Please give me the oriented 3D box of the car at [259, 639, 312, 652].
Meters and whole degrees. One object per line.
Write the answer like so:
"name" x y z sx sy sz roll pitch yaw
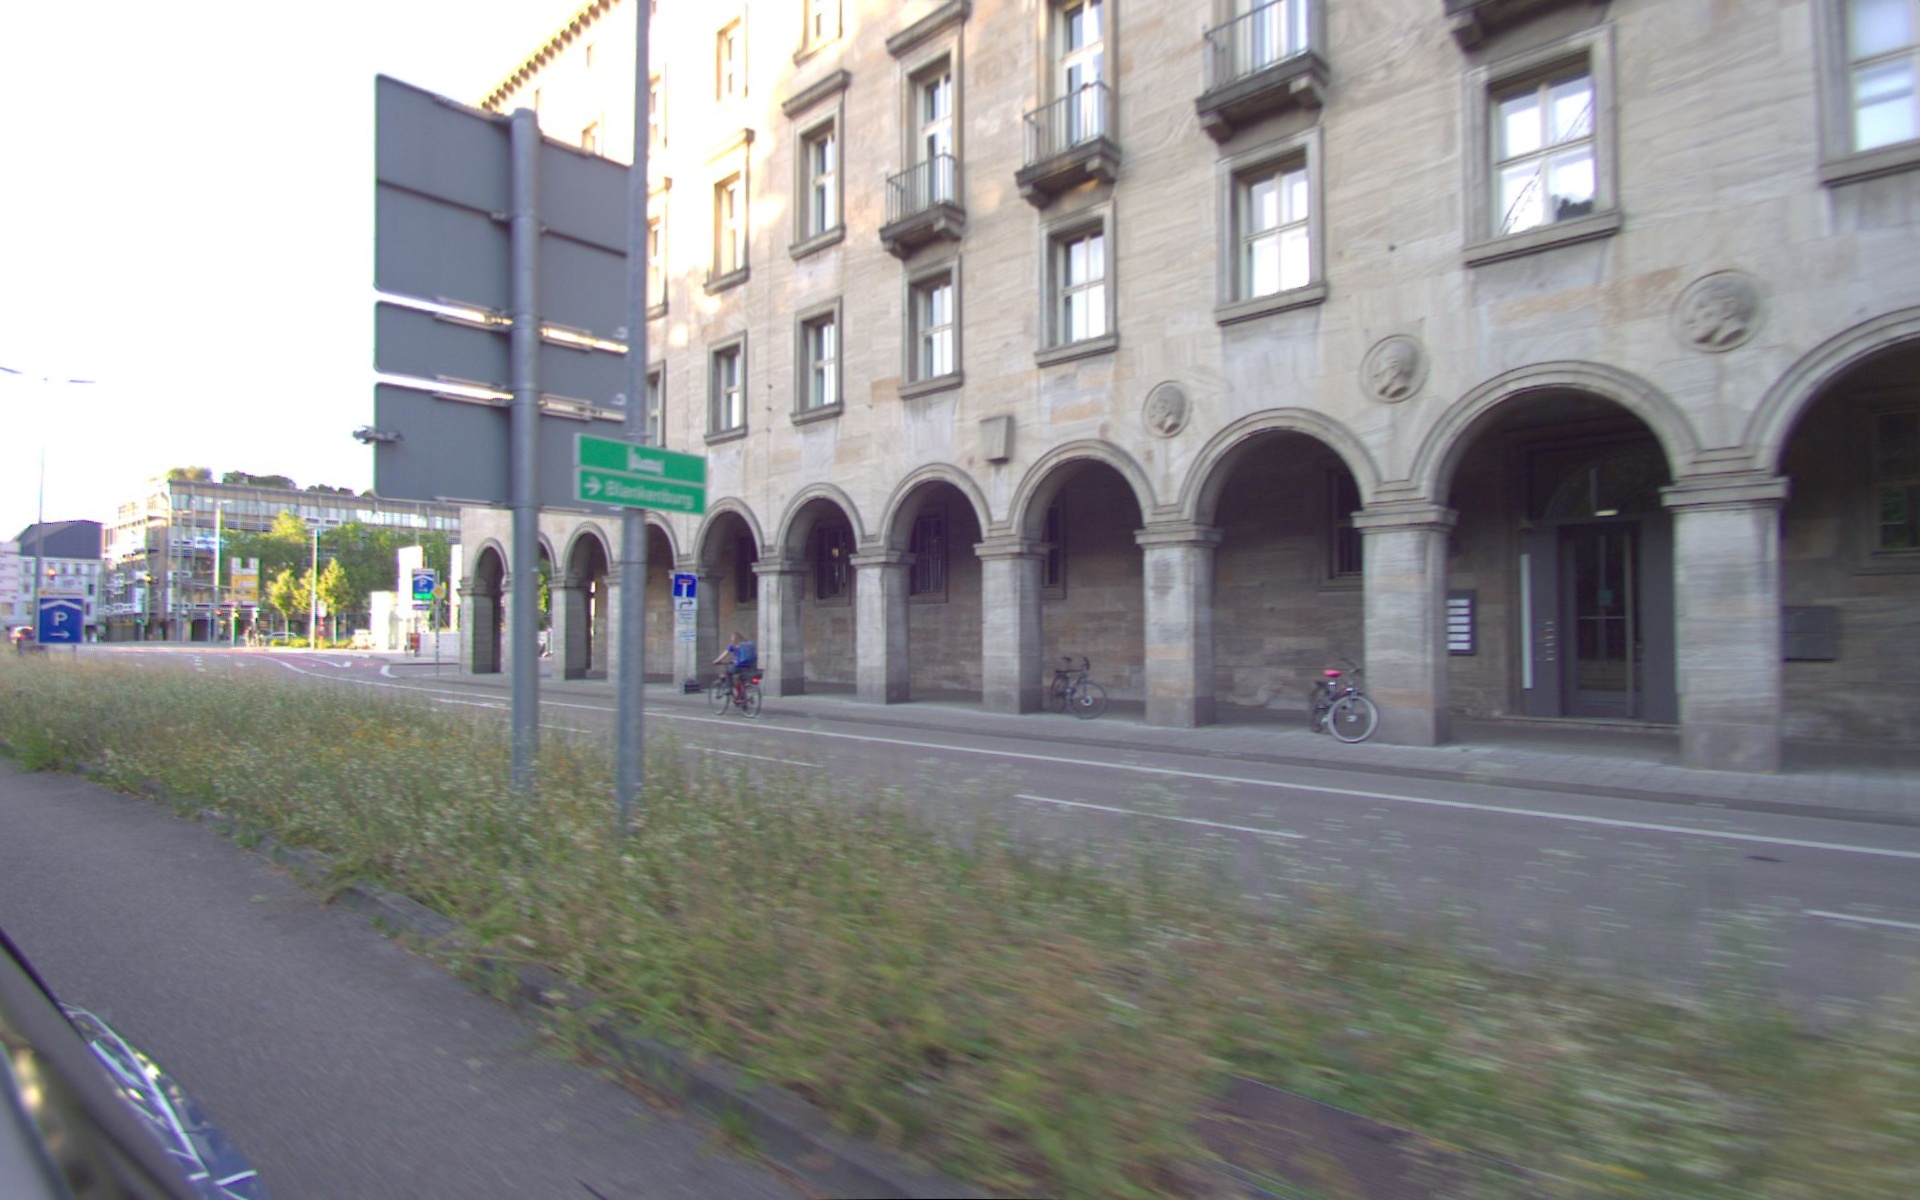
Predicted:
"car" -83.260 5.644 125.010 2.000 1.597 5.091 -3 -3 42

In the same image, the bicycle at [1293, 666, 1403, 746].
"bicycle" 5.551 1.487 14.630 0.471 1.013 2.009 0 -2 -11

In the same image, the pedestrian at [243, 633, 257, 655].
"pedestrian" -60.386 3.770 86.070 0.776 1.851 0.862 -2 -3 44

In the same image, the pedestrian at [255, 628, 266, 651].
"pedestrian" -60.028 3.366 86.880 0.648 1.948 0.652 -4 -4 44

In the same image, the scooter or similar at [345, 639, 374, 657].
"scooter or similar" -44.322 3.503 74.705 0.422 1.315 1.813 -2 -3 36

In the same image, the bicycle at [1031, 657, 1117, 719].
"bicycle" 2.014 1.550 18.228 0.470 1.013 2.011 1 -3 -28

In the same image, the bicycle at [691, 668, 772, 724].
"bicycle" -4.563 1.876 20.130 2.005 1.013 0.535 -2 -3 43

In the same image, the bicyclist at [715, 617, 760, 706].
"bicyclist" -4.404 1.203 20.019 0.748 1.706 0.530 -2 -3 43

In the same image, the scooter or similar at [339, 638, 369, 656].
"scooter or similar" -45.113 3.523 75.305 0.500 1.315 1.841 -2 -3 36

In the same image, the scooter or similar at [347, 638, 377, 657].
"scooter or similar" -43.975 3.487 74.431 0.422 1.315 1.818 -2 -3 36

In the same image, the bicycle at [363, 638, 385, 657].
"bicycle" -42.400 3.408 73.191 2.508 1.334 0.610 -2 -3 41
